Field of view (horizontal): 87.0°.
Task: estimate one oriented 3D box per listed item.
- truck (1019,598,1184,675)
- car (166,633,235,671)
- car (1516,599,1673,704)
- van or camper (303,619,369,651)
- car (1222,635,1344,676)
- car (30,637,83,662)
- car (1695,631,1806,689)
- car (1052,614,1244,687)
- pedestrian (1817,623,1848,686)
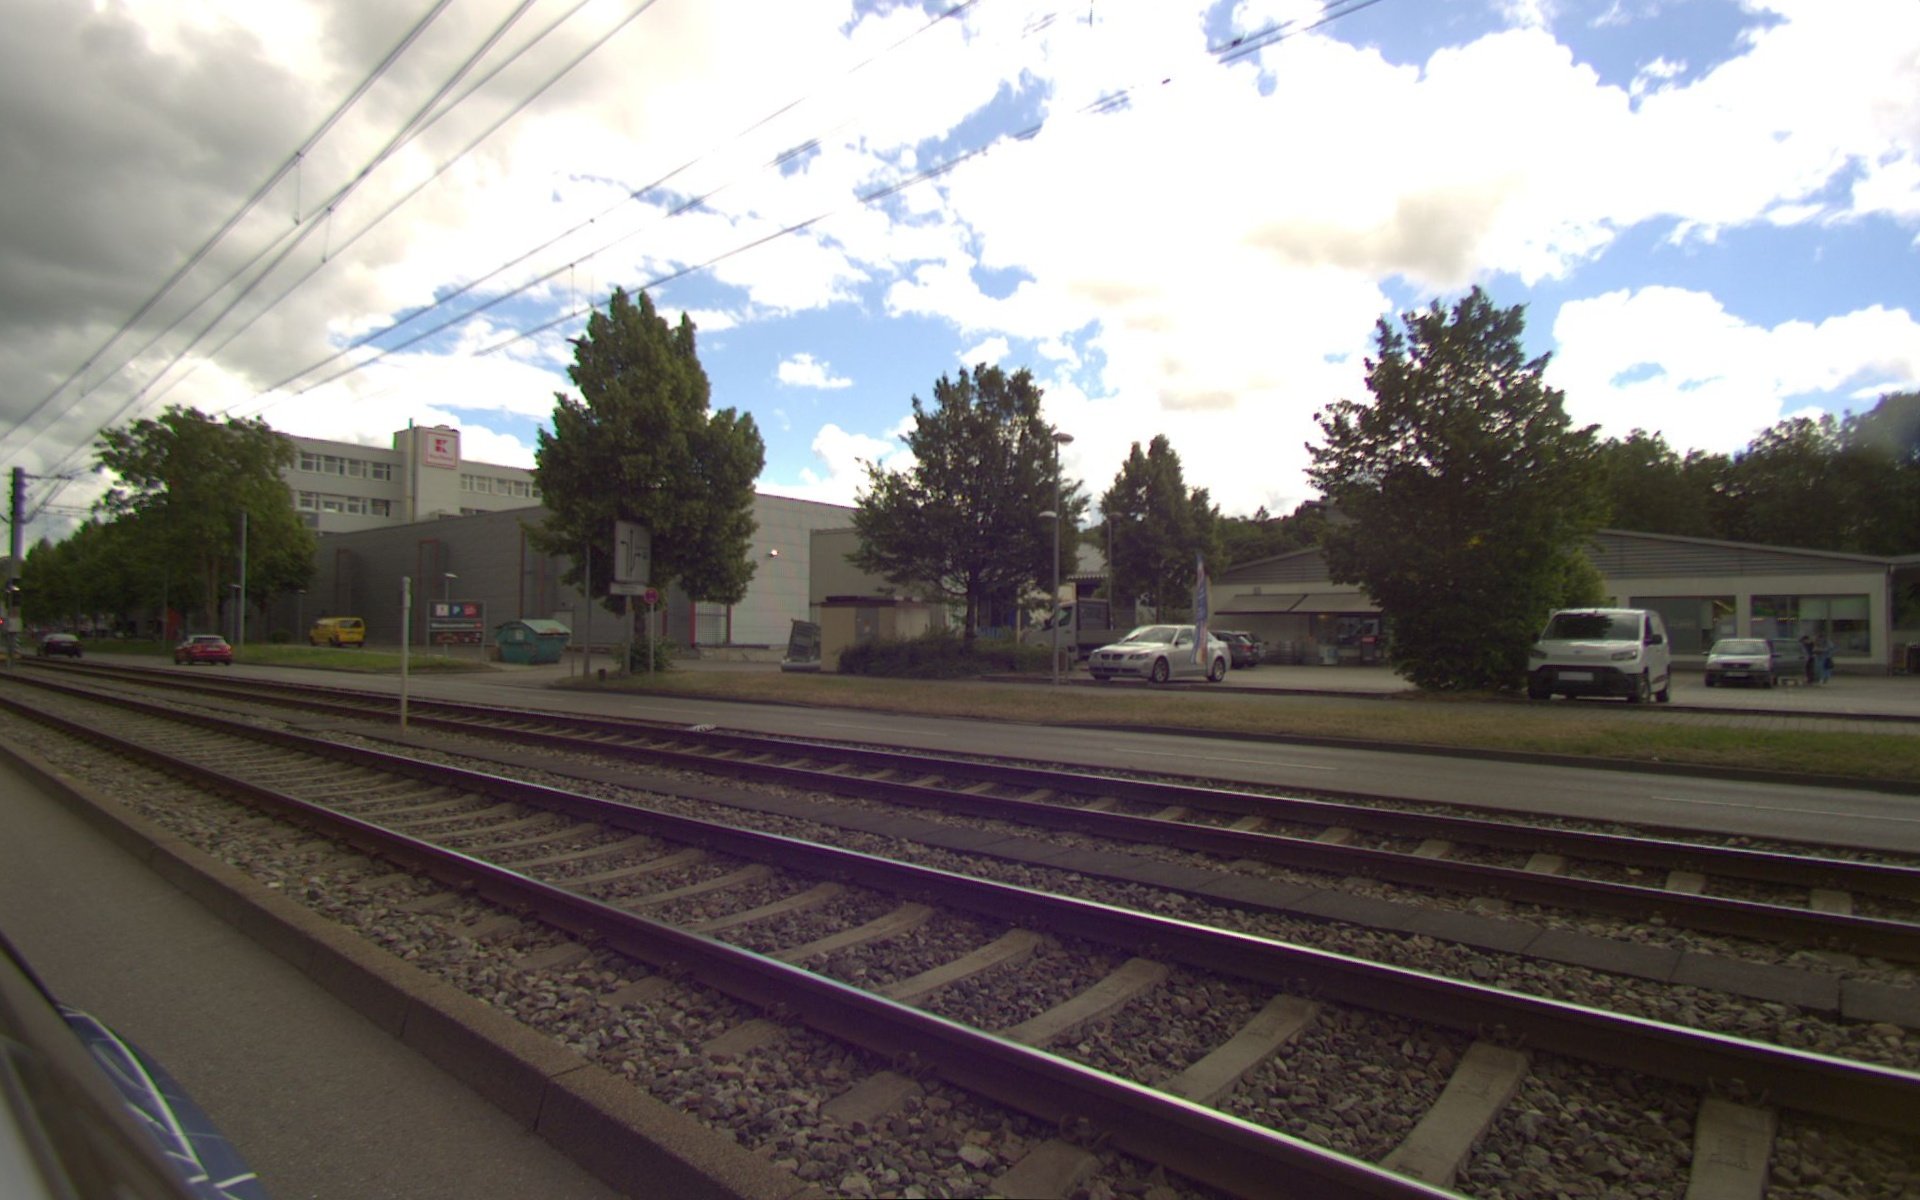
[{"bbox_3d":[4.660,1.241,33.863,5.261,2.401,1.972,-2,-3,41],"label":"truck"},{"bbox_3d":[-37.282,2.518,49.657,3.996,1.785,1.774,-2,-3,39],"label":"car"},{"bbox_3d":[11.968,0.950,18.974,1.993,1.740,4.178,-2,-3,39],"label":"car"},{"bbox_3d":[-41.822,2.358,67.776,5.235,2.029,2.083,-2,-2,38],"label":"van or camper"},{"bbox_3d":[11.891,2.009,37.326,3.991,1.411,1.596,-1,-1,36],"label":"car"},{"bbox_3d":[-54.854,2.978,61.440,4.440,1.412,1.741,-2,-5,40],"label":"car"},{"bbox_3d":[24.038,1.783,30.725,2.465,1.652,3.881,-2,-3,40],"label":"car"},{"bbox_3d":[4.781,1.249,25.297,2.651,1.641,4.730,-3,-4,42],"label":"car"},{"bbox_3d":[26.149,1.631,30.332,0.663,1.869,0.539,-2,-3,41],"label":"pedestrian"}]
